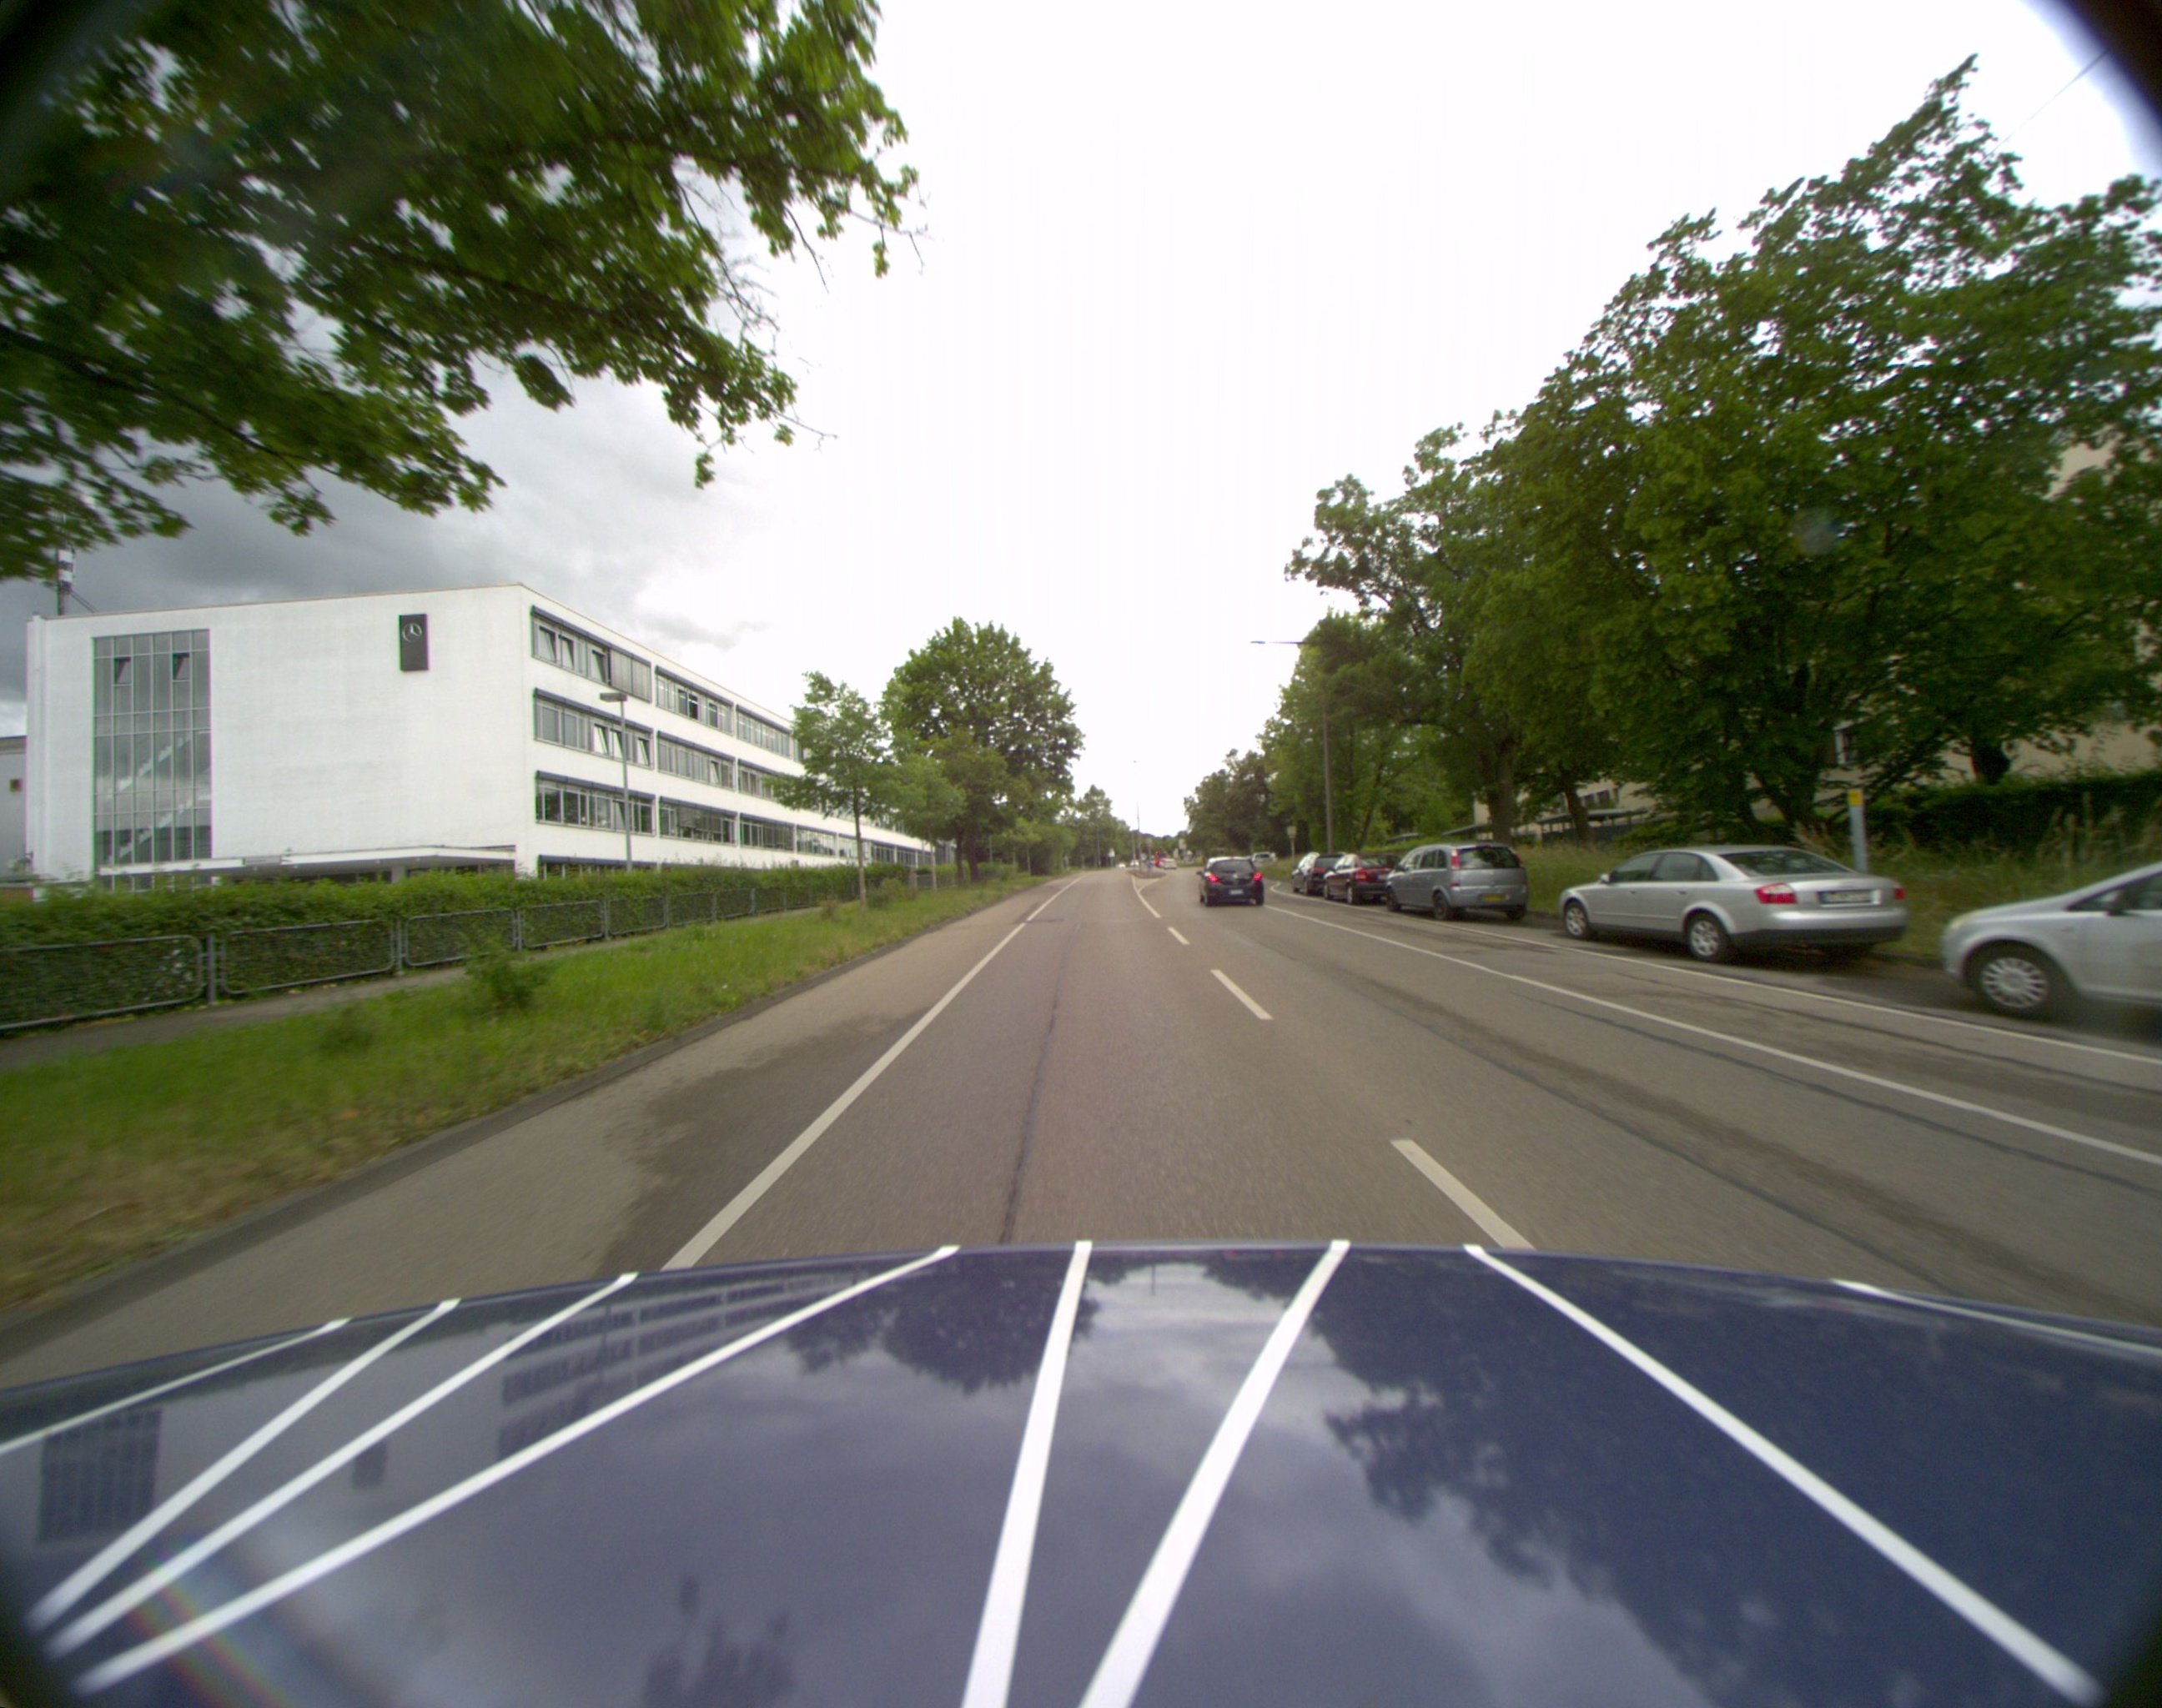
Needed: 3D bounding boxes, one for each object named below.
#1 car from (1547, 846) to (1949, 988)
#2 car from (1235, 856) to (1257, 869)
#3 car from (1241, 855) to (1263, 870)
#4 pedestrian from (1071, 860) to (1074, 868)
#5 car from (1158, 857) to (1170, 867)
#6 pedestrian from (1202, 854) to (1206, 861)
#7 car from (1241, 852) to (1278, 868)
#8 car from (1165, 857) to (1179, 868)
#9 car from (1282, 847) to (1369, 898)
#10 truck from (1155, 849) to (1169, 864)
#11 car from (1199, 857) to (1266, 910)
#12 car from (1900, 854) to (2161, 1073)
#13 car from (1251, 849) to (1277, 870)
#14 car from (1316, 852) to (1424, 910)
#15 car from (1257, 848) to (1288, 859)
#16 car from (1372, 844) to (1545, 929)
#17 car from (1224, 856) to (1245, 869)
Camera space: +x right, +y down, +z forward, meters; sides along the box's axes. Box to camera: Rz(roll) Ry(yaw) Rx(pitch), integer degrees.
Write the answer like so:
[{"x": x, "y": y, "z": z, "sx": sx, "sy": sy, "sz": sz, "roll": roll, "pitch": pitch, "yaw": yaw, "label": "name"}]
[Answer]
[{"x": 8.475, "y": 0.697, "z": 10.324, "sx": 1.772, "sy": 1.486, "sz": 4.358, "roll": -1, "pitch": 0, "yaw": 3, "label": "car"}, {"x": 19.659, "y": 0.997, "z": 90.587, "sx": 1.879, "sy": 1.498, "sz": 4.001, "roll": -3, "pitch": -1, "yaw": 2, "label": "car"}, {"x": 19.225, "y": 0.956, "z": 85.662, "sx": 1.879, "sy": 1.498, "sz": 4.002, "roll": -2, "pitch": -1, "yaw": 5, "label": "car"}, {"x": -1.754, "y": 2.052, "z": 157.372, "sx": 0.734, "sy": 1.717, "sz": 0.502, "roll": -1, "pitch": 1, "yaw": 0, "label": "pedestrian"}, {"x": 16.027, "y": 1.567, "z": 147.174, "sx": 1.832, "sy": 1.759, "sz": 4.408, "roll": -3, "pitch": -1, "yaw": 2, "label": "car"}, {"x": 27.174, "y": 0.810, "z": 167.285, "sx": 0.757, "sy": 1.438, "sz": 0.639, "roll": -3, "pitch": 1, "yaw": 3, "label": "pedestrian"}, {"x": 17.958, "y": 0.653, "z": 76.653, "sx": 1.882, "sy": 1.498, "sz": 3.995, "roll": -2, "pitch": -1, "yaw": -16, "label": "car"}, {"x": 13.847, "y": 1.290, "z": 116.101, "sx": 1.879, "sy": 1.561, "sz": 4.340, "roll": -3, "pitch": 0, "yaw": 5, "label": "car"}, {"x": 8.545, "y": 0.606, "z": 26.986, "sx": 1.879, "sy": 1.561, "sz": 4.652, "roll": -3, "pitch": 0, "yaw": 5, "label": "car"}, {"x": 19.014, "y": 0.567, "z": 178.234, "sx": 2.830, "sy": 3.460, "sz": 7.828, "roll": -2, "pitch": 0, "yaw": 7, "label": "truck"}, {"x": 4.629, "y": 0.842, "z": 23.672, "sx": 1.641, "sy": 1.458, "sz": 4.002, "roll": -1, "pitch": 0, "yaw": 6, "label": "car"}, {"x": 8.209, "y": 0.741, "z": 4.804, "sx": 1.639, "sy": 1.425, "sz": 3.949, "roll": -3, "pitch": -1, "yaw": -3, "label": "car"}, {"x": 15.807, "y": 0.457, "z": 65.729, "sx": 1.878, "sy": 1.657, "sz": 4.393, "roll": -3, "pitch": 1, "yaw": 11, "label": "car"}, {"x": 8.251, "y": 0.727, "z": 22.107, "sx": 1.772, "sy": 1.439, "sz": 4.151, "roll": -2, "pitch": 0, "yaw": 4, "label": "car"}, {"x": 36.338, "y": -0.053, "z": 144.230, "sx": 5.296, "sy": 2.002, "sz": 2.012, "roll": -1, "pitch": 0, "yaw": 2, "label": "car"}, {"x": 8.144, "y": 0.656, "z": 16.855, "sx": 1.772, "sy": 1.582, "sz": 4.135, "roll": -2, "pitch": 0, "yaw": 1, "label": "car"}, {"x": 19.371, "y": 1.110, "z": 96.061, "sx": 1.879, "sy": 1.498, "sz": 4.058, "roll": -3, "pitch": 0, "yaw": 2, "label": "car"}]
